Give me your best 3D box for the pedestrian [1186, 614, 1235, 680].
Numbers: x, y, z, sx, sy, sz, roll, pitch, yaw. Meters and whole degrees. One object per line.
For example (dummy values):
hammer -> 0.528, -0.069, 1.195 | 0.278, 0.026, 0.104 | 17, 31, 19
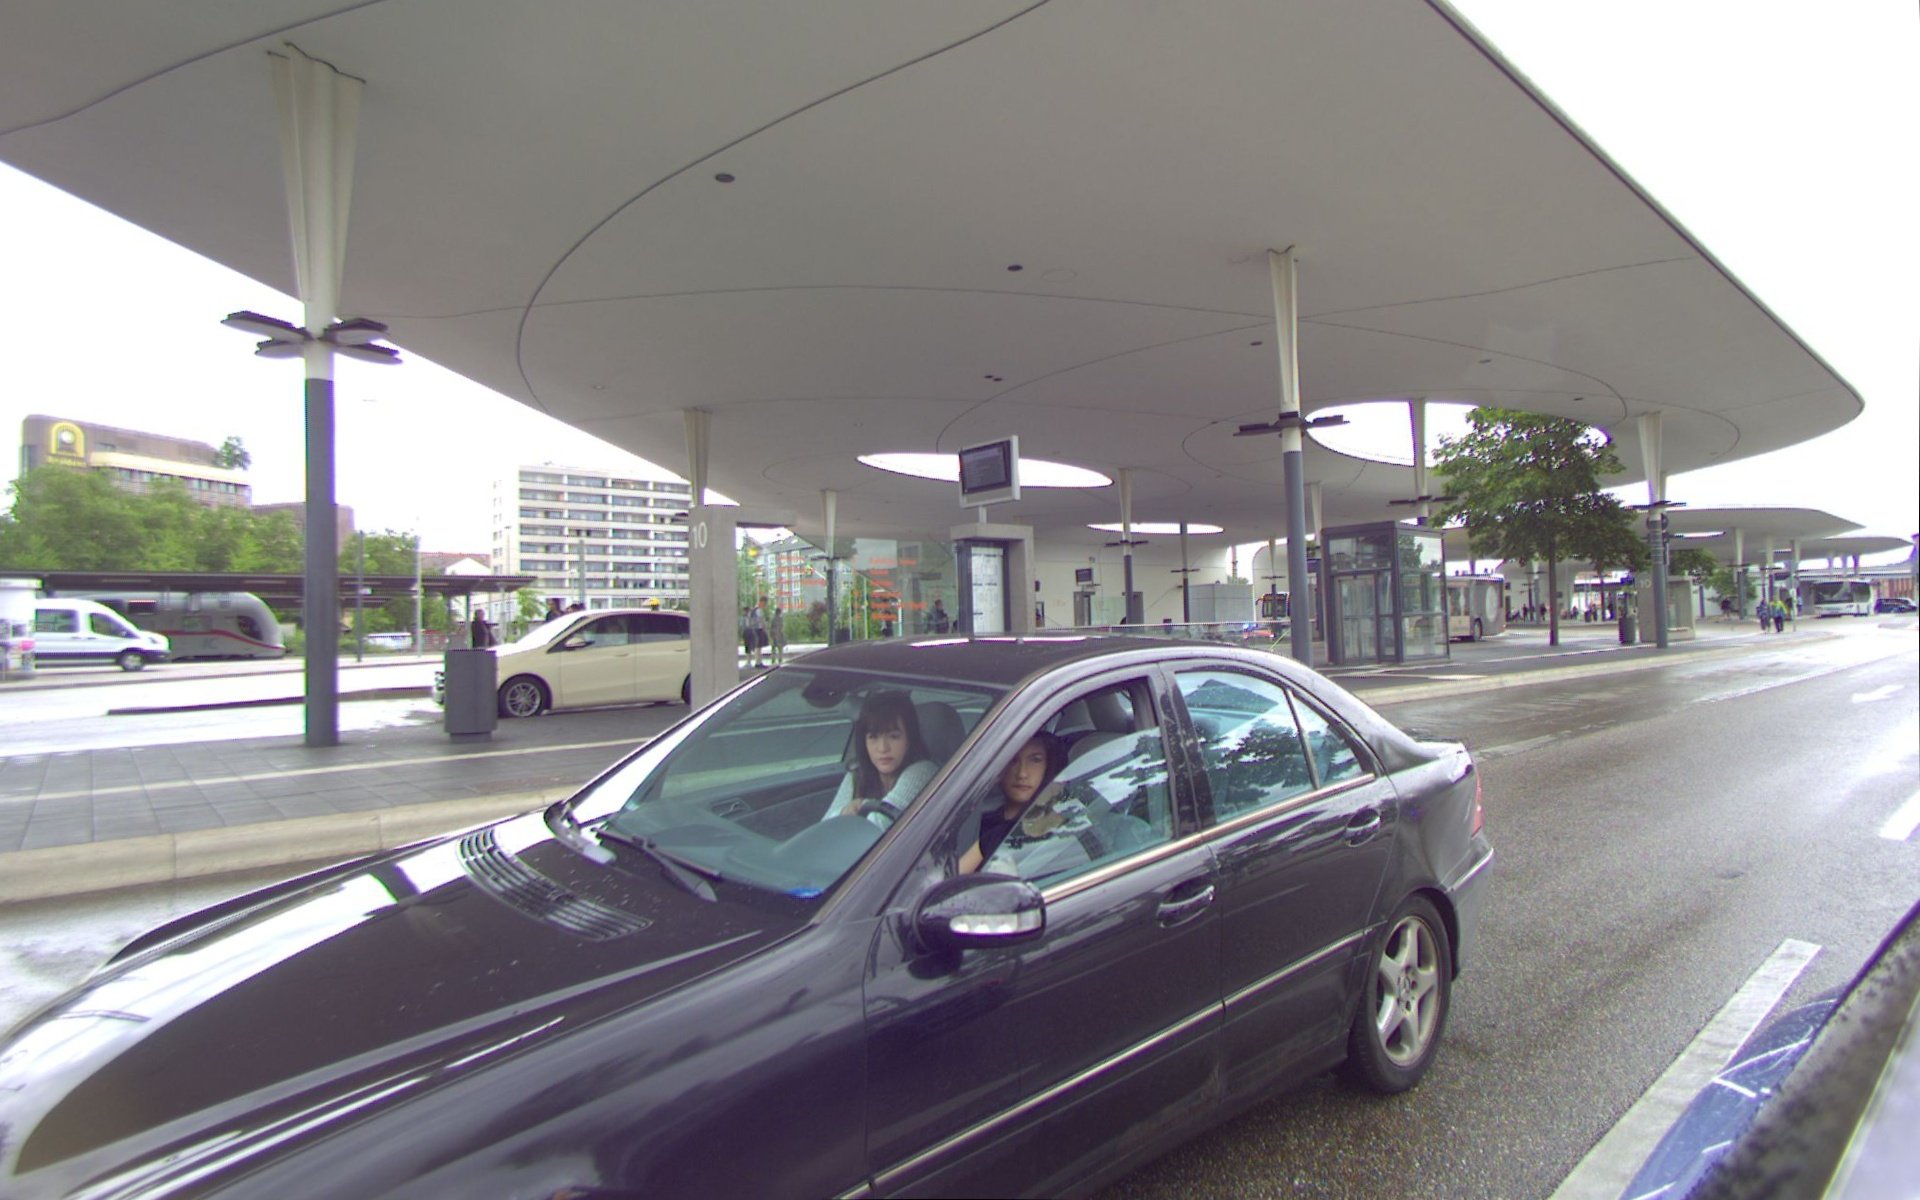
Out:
pedestrian -> 5.006, 0.922, 20.265 | 0.657, 1.268, 0.692 | 0, -1, -41

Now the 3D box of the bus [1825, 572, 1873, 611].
bus -> 75.362, -0.680, 85.711 | 2.666, 3.169, 9.565 | -1, -1, 43

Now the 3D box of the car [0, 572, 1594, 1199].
car -> 0.010, 0.801, 3.017 | 4.356, 1.499, 1.748 | -3, -4, -39

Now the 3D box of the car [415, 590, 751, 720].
car -> -5.519, 0.748, 15.132 | 4.356, 1.671, 1.803 | 0, -3, -41

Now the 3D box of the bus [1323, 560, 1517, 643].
bus -> 20.134, 0.048, 43.677 | 12.142, 3.146, 2.999 | 0, -1, -42

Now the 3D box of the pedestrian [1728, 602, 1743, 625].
pedestrian -> 56.530, 0.967, 73.778 | 0.740, 1.651, 0.723 | 0, -1, -41

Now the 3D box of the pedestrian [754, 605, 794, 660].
pedestrian -> -5.199, 0.900, 28.235 | 0.732, 1.497, 0.825 | -1, -1, 43

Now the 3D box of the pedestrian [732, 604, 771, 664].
pedestrian -> -5.923, 0.955, 28.733 | 0.646, 1.654, 0.854 | -1, -1, 43

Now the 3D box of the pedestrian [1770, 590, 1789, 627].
pedestrian -> 37.322, 0.381, 46.078 | 0.577, 1.645, 0.576 | 0, -1, -41

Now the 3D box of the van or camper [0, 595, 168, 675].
van or camper -> -29.786, 1.103, 33.224 | 5.868, 2.495, 2.106 | 0, -1, -41

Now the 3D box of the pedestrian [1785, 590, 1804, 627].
pedestrian -> 37.724, 0.377, 45.745 | 0.543, 1.645, 0.556 | 0, -1, -41

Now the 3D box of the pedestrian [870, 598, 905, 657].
pedestrian -> -1.945, 0.720, 27.066 | 0.680, 1.564, 0.658 | 0, -1, -40

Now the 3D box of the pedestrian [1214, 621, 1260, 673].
pedestrian -> 5.402, 0.900, 19.766 | 0.626, 0.974, 0.622 | 0, -1, -41

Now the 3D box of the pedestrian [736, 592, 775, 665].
pedestrian -> -4.927, 0.671, 24.385 | 0.680, 1.728, 0.658 | 0, -1, -40

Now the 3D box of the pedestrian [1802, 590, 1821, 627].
pedestrian -> 38.054, 0.378, 45.211 | 0.543, 1.645, 0.556 | 0, -1, -41
